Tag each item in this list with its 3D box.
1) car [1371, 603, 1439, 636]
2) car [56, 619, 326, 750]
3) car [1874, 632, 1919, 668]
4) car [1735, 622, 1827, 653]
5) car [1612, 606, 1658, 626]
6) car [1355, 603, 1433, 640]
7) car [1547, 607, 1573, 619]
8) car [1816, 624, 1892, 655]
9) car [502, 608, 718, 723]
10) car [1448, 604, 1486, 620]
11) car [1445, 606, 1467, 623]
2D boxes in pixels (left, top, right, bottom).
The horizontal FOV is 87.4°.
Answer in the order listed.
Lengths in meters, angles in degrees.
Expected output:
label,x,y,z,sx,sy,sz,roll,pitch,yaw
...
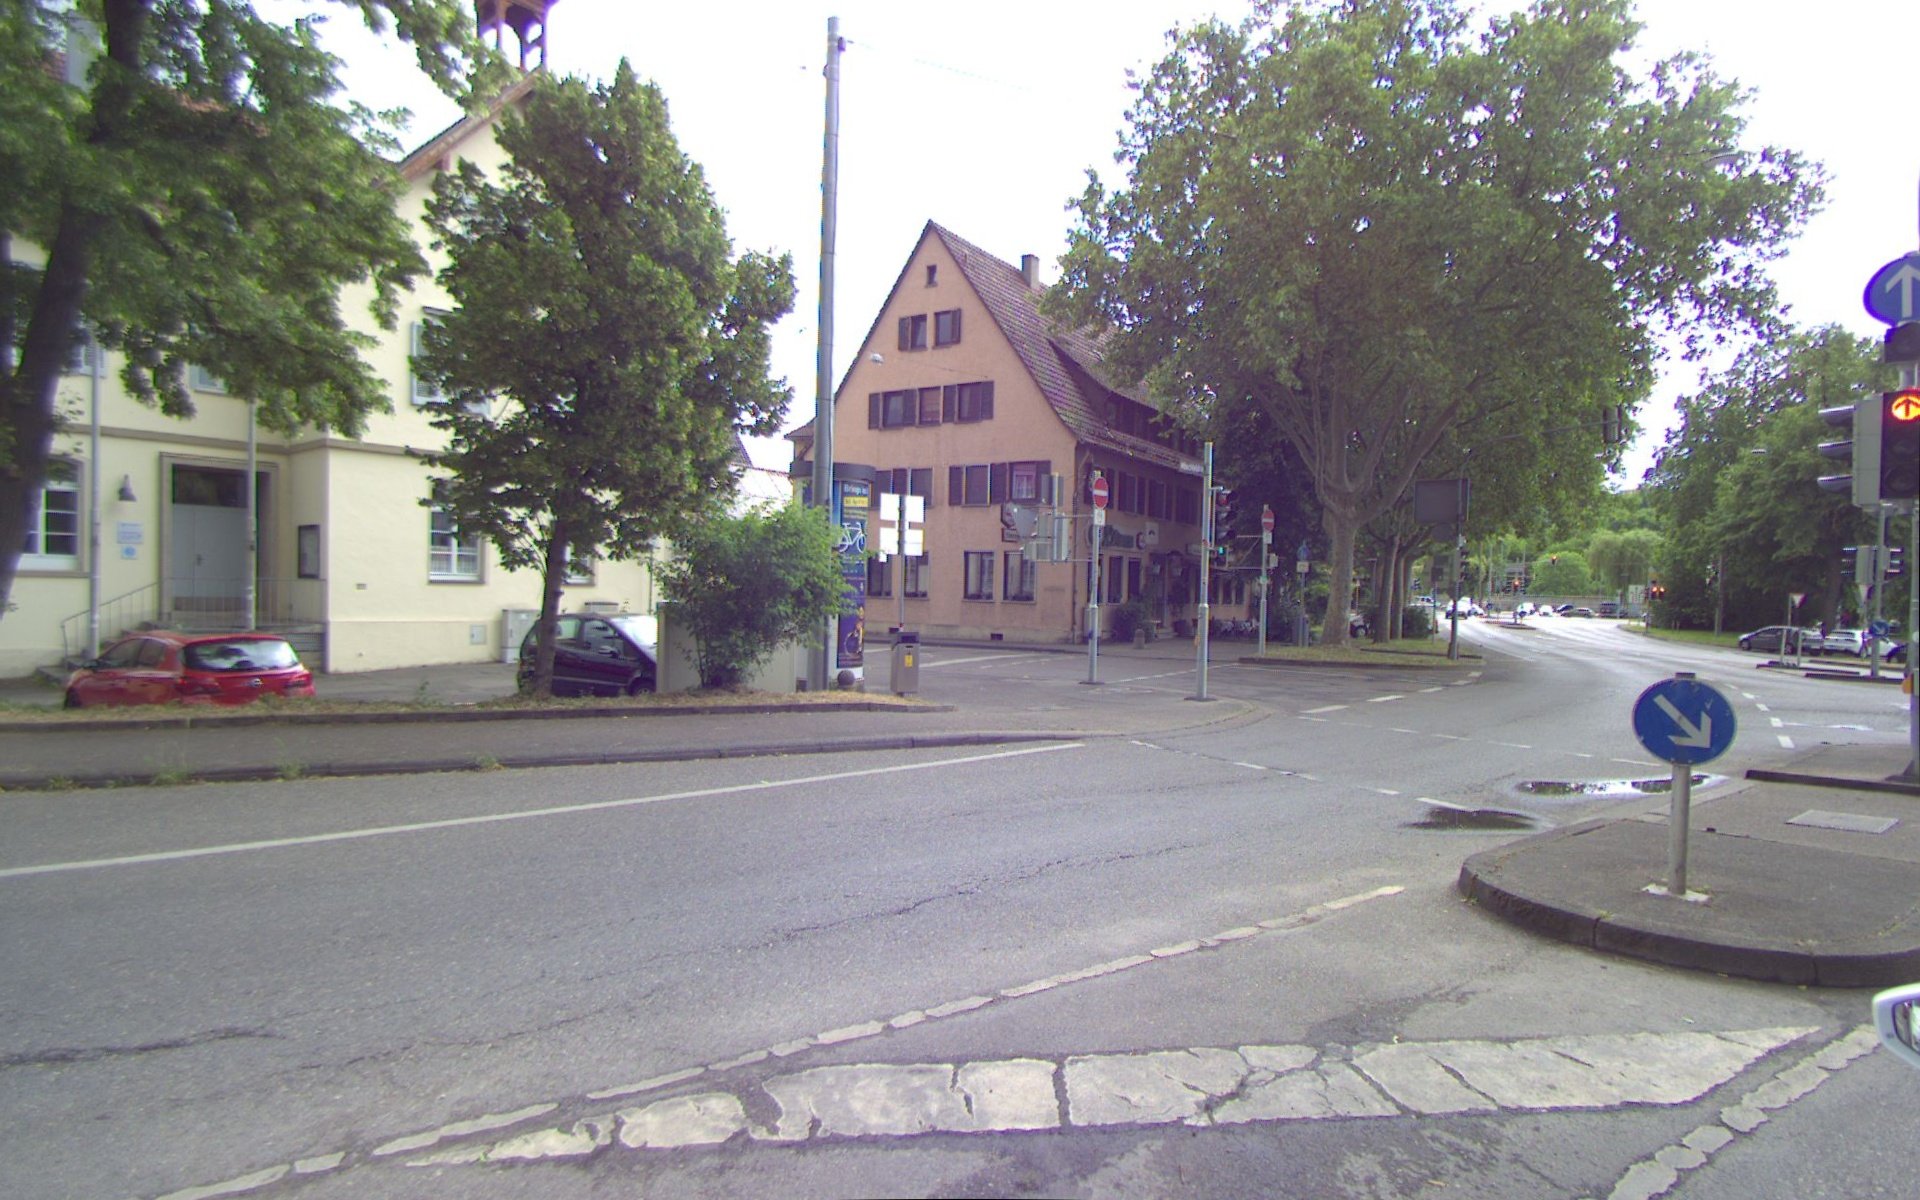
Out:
label,x,y,z,sx,sy,sz,roll,pitch,yaw
car,25.472,1.085,57.471,3.387,1.765,1.570,2,0,28
car,-10.173,1.013,13.251,3.492,1.397,1.605,2,0,30
car,39.572,2.076,40.949,1.442,1.412,3.596,2,0,3
car,43.866,1.967,53.765,1.559,1.484,3.543,2,0,-17
car,76.893,1.817,114.465,1.846,2.040,3.959,2,0,-36
car,21.411,1.046,49.587,3.387,1.663,1.570,2,0,28
car,108.233,2.311,181.094,3.928,2.040,1.996,2,0,30
car,47.304,2.080,53.165,3.342,1.484,1.543,2,0,-19
car,-5.762,1.006,16.598,3.035,1.654,1.607,2,0,22
car,65.053,1.529,128.880,1.852,2.040,3.946,2,0,-45
car,43.814,1.274,88.802,1.404,1.435,2.872,1,-1,19
